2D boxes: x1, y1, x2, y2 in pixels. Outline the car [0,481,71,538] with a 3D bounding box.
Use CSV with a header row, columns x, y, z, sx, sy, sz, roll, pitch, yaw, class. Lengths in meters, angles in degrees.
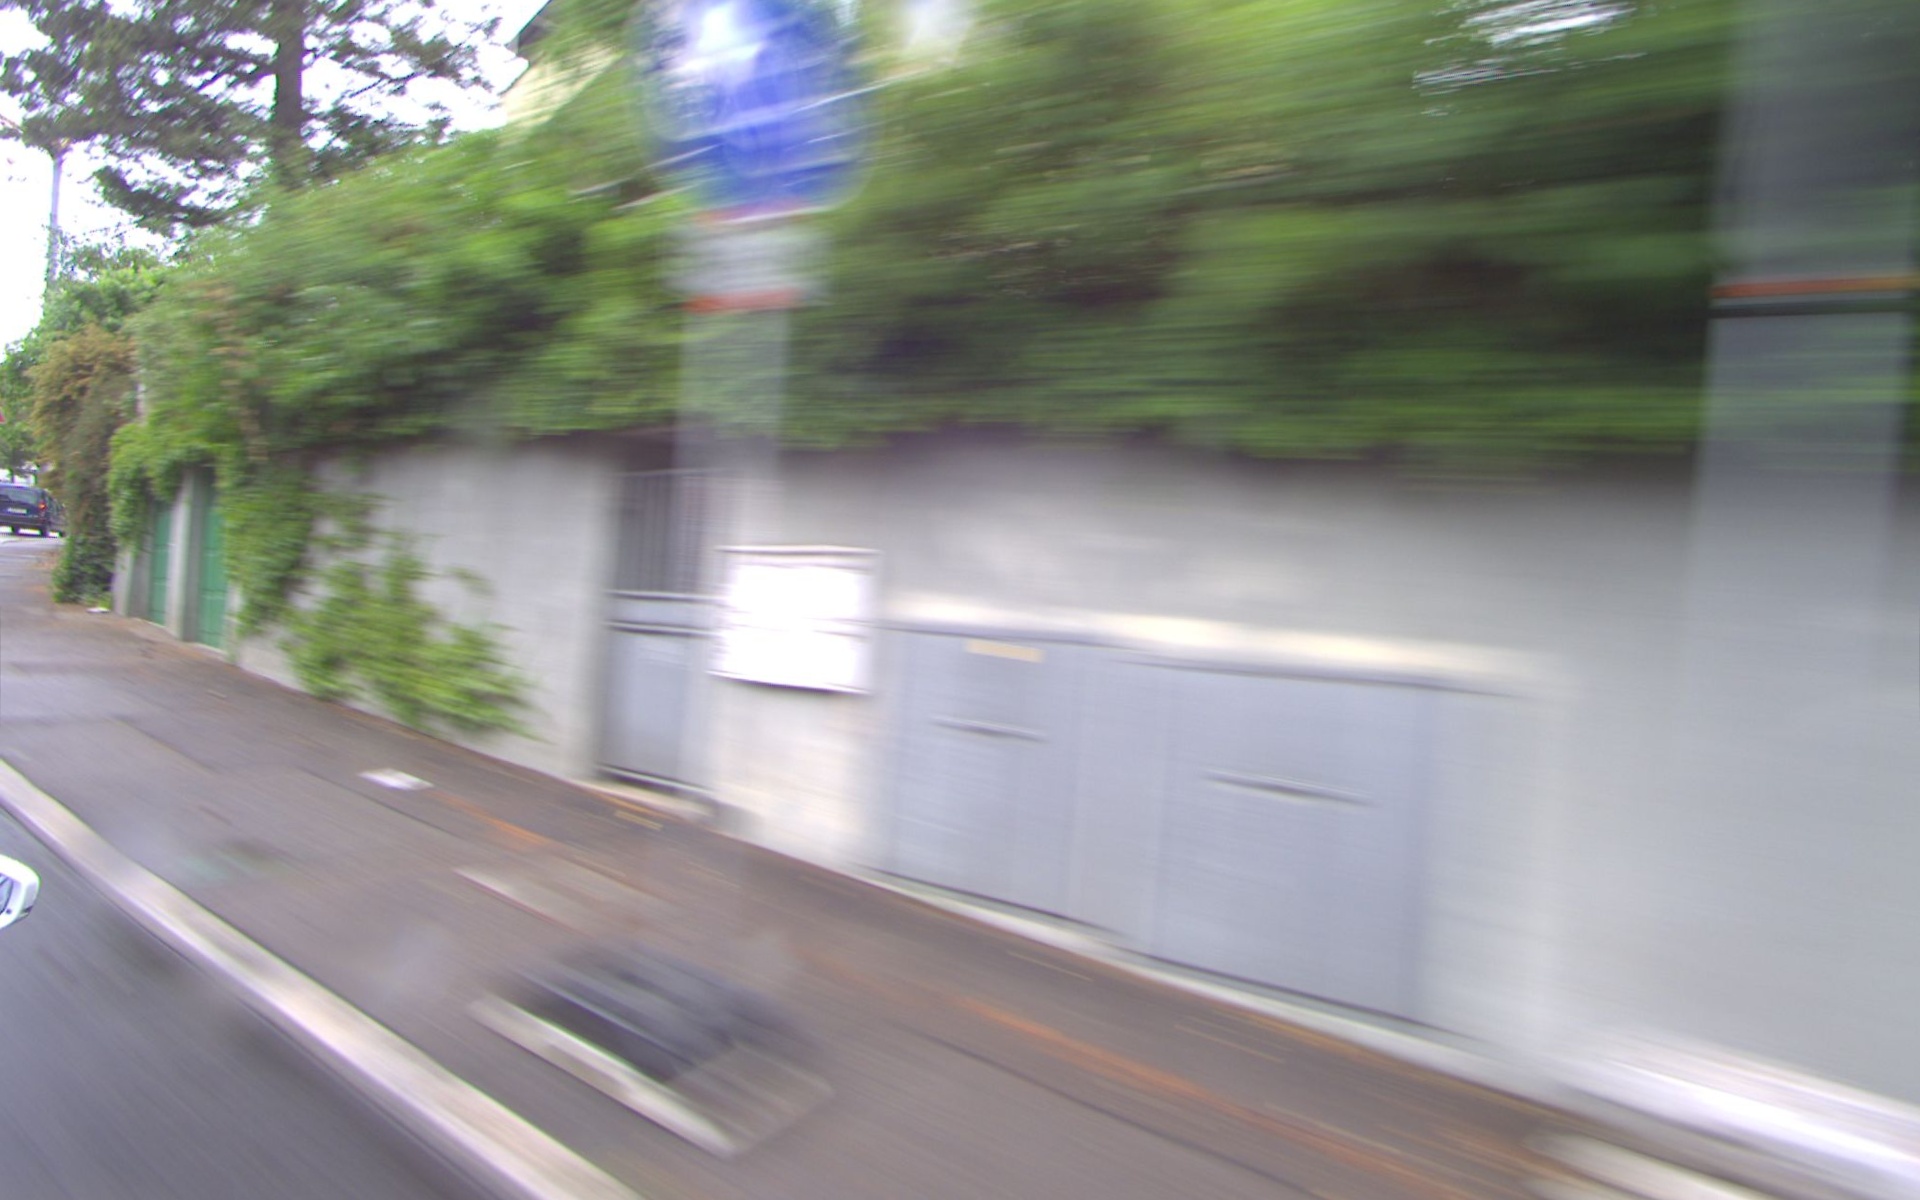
x,y,z,sx,sy,sz,roll,pitch,yaw,class
-34.922,-3.366,37.733,1.716,1.920,4.020,2,3,-32,car
